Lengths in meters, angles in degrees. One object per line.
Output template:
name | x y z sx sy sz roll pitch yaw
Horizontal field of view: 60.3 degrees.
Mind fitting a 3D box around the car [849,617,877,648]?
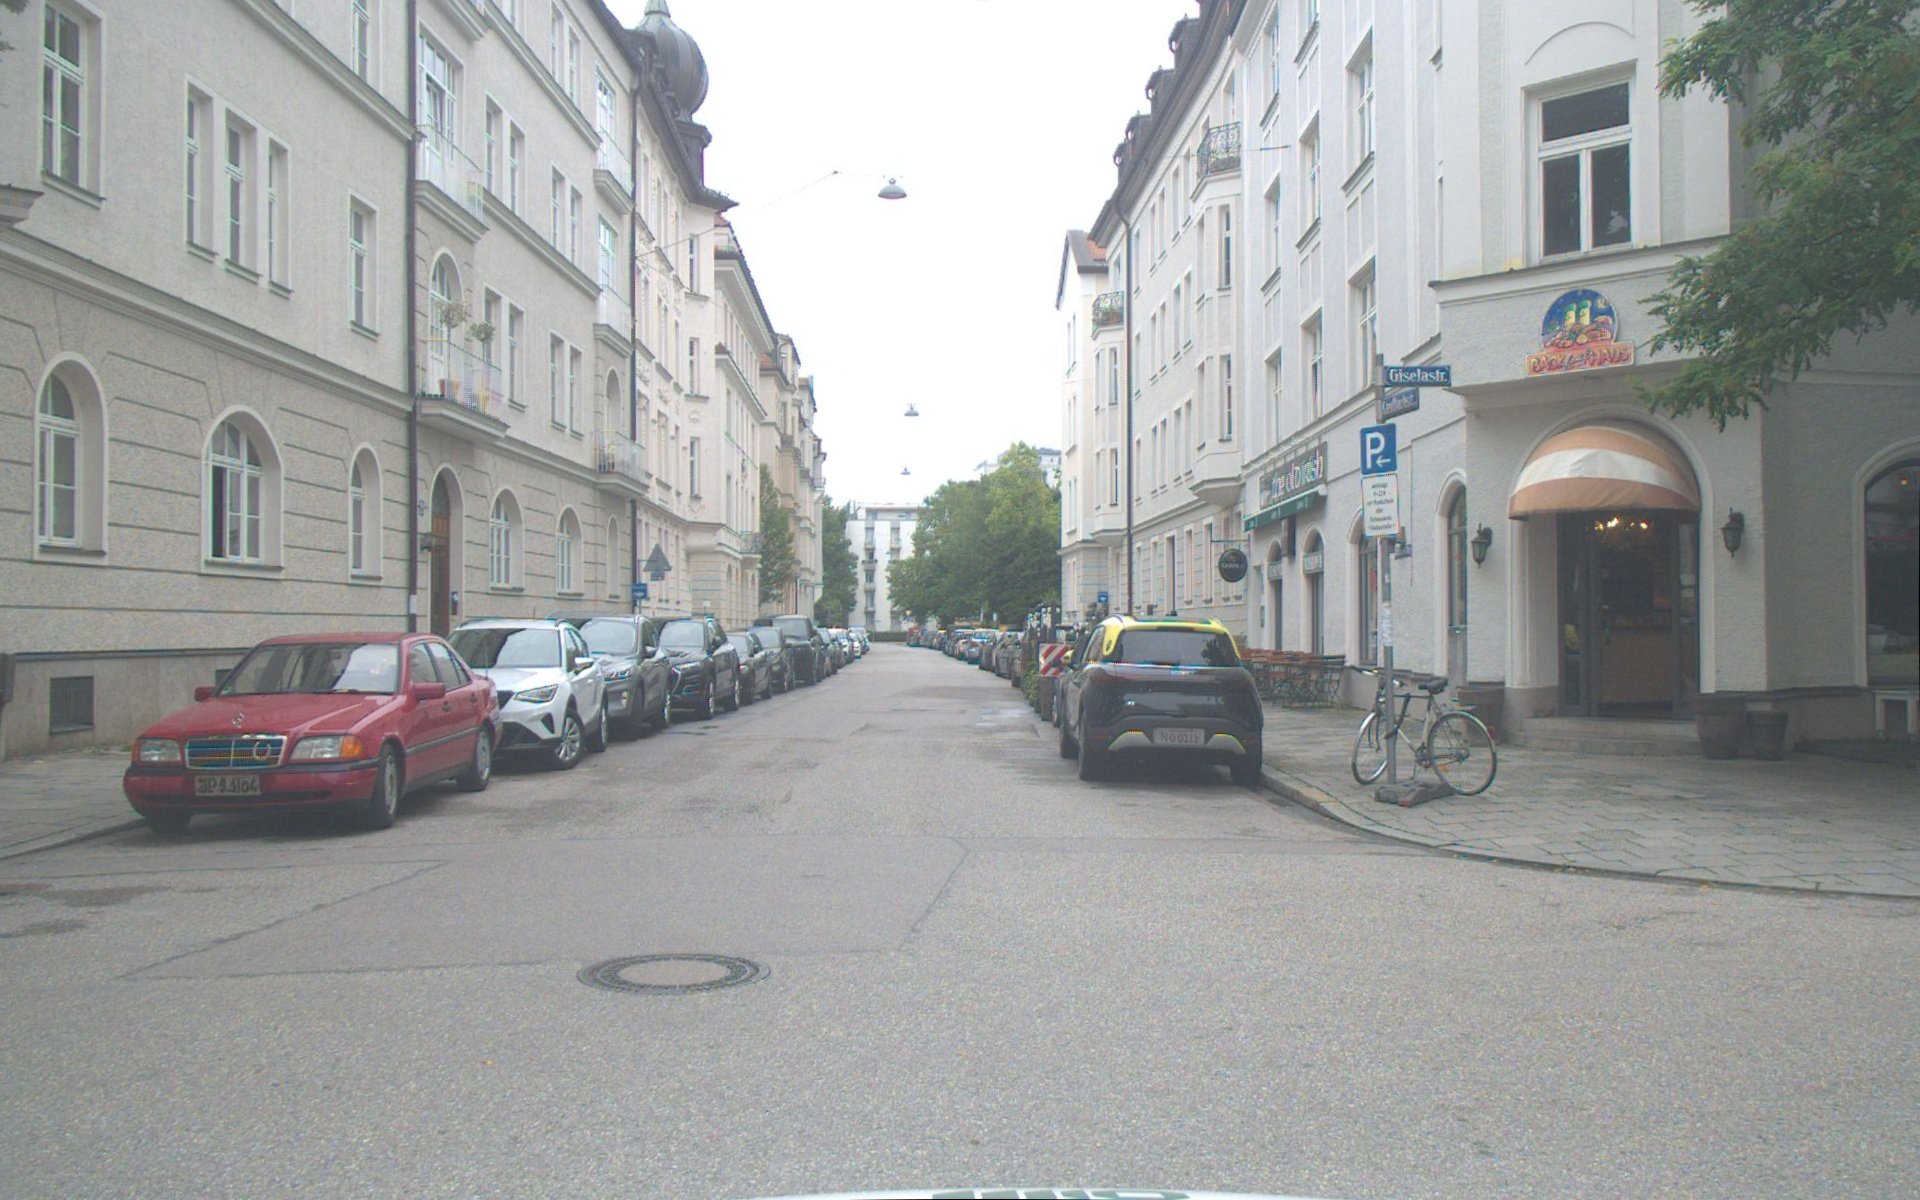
car | -6.616 2.208 113.022 1.809 2.049 3.998 0 -1 -2

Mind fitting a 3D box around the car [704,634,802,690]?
car | -4.936 1.469 39.915 1.867 1.243 4.000 0 -1 0

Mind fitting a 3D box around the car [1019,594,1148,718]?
car | 2.025 0.911 28.155 1.783 1.904 4.288 2 -1 -1

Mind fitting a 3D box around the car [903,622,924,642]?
car | -4.854 3.330 170.996 1.954 2.017 4.888 0 -1 -4

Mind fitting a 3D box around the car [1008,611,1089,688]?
car | 2.215 1.236 42.392 1.783 1.819 4.182 2 -1 -1

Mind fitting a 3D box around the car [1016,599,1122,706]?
car | 2.132 1.023 33.423 1.783 1.957 4.182 2 -1 -1

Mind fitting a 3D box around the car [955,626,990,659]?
car | 0.778 2.673 104.773 1.953 2.017 4.890 0 -1 -2

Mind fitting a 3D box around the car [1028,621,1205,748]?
car | 2.045 1.086 22.900 1.936 1.524 4.636 2 -1 -1

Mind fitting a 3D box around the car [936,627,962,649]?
car | -0.880 3.030 131.691 1.911 1.681 3.997 -2 -1 -3

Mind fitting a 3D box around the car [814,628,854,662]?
car | -5.620 1.988 73.986 1.699 1.444 3.997 0 -1 -4

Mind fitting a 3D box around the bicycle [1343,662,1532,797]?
bicycle | 4.076 1.083 14.248 0.532 1.016 1.742 -3 0 -24

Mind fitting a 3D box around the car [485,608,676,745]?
car | -5.098 0.984 22.740 1.954 1.705 4.009 0 -1 -4

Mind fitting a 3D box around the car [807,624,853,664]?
car | -5.310 1.791 68.038 1.784 1.601 3.997 0 -1 -3

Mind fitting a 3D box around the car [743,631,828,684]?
car | -4.662 1.521 44.793 1.867 1.352 4.000 0 -1 0

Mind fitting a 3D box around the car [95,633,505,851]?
car | -4.961 0.983 13.110 1.696 1.402 4.224 0 -1 -2

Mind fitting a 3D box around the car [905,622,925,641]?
car | -4.960 3.446 182.276 1.954 2.017 4.888 0 -1 -4

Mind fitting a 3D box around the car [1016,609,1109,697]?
car | 2.274 1.174 37.798 1.952 1.889 4.345 0 -1 1

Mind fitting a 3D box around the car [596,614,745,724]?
car | -4.796 1.100 27.990 1.954 1.705 4.286 0 -1 -3

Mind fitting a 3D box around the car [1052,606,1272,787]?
car | 2.045 0.951 17.912 1.783 1.665 4.288 2 -1 -1

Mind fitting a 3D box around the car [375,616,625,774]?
car | -4.871 0.943 18.114 1.955 1.499 4.213 0 -1 -6

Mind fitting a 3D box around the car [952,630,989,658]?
car | 0.534 2.294 86.701 1.695 1.442 3.849 0 -1 -3

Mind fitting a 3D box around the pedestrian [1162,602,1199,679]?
pedestrian | 5.479 0.993 41.104 0.762 1.883 1.023 0 -1 0

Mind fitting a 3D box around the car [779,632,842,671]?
car | -5.066 1.736 56.464 1.868 1.243 3.998 0 -1 -2

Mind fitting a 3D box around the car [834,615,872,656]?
car | -5.437 1.782 84.361 1.809 2.049 3.998 0 -1 -2

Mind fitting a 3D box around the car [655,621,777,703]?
car | -4.954 1.224 34.052 1.886 1.573 4.000 0 -1 0

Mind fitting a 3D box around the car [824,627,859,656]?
car | -6.785 2.344 94.763 1.954 1.601 3.997 0 -1 -3

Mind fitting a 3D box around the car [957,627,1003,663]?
car | 0.884 2.052 75.985 1.868 1.604 3.997 0 -1 -3

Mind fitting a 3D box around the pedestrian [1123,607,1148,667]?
pedestrian | 5.600 1.170 52.745 0.761 1.883 0.860 0 -1 7

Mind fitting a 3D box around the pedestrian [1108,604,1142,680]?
pedestrian | 4.138 1.040 41.540 0.762 1.883 1.023 0 -1 0
